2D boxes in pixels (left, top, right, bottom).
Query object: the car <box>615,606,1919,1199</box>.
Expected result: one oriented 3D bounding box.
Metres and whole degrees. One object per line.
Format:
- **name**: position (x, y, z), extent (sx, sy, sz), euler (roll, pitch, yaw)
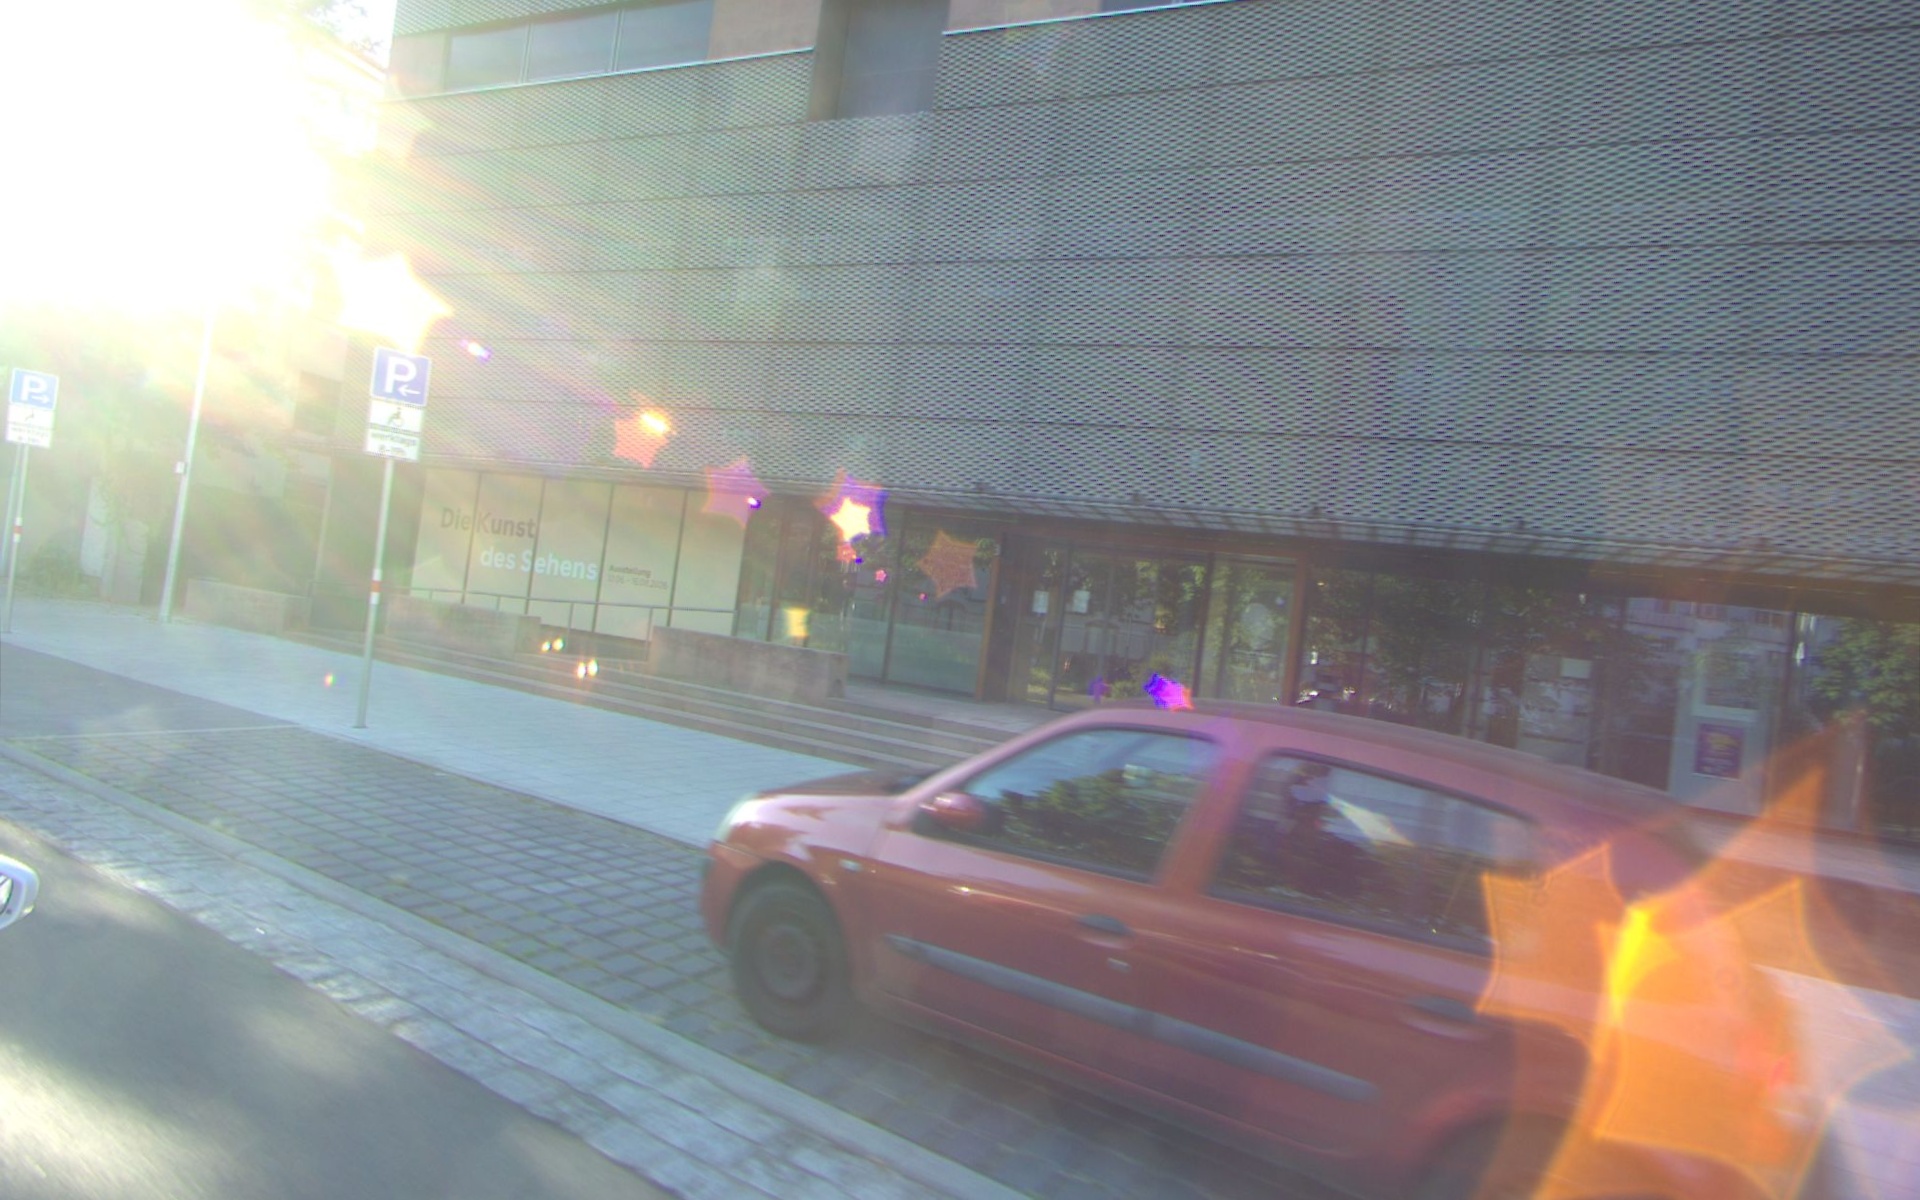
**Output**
- **car**: position (0.759, 1.004, 3.757), extent (3.842, 1.438, 1.727), euler (7, -1, 32)
